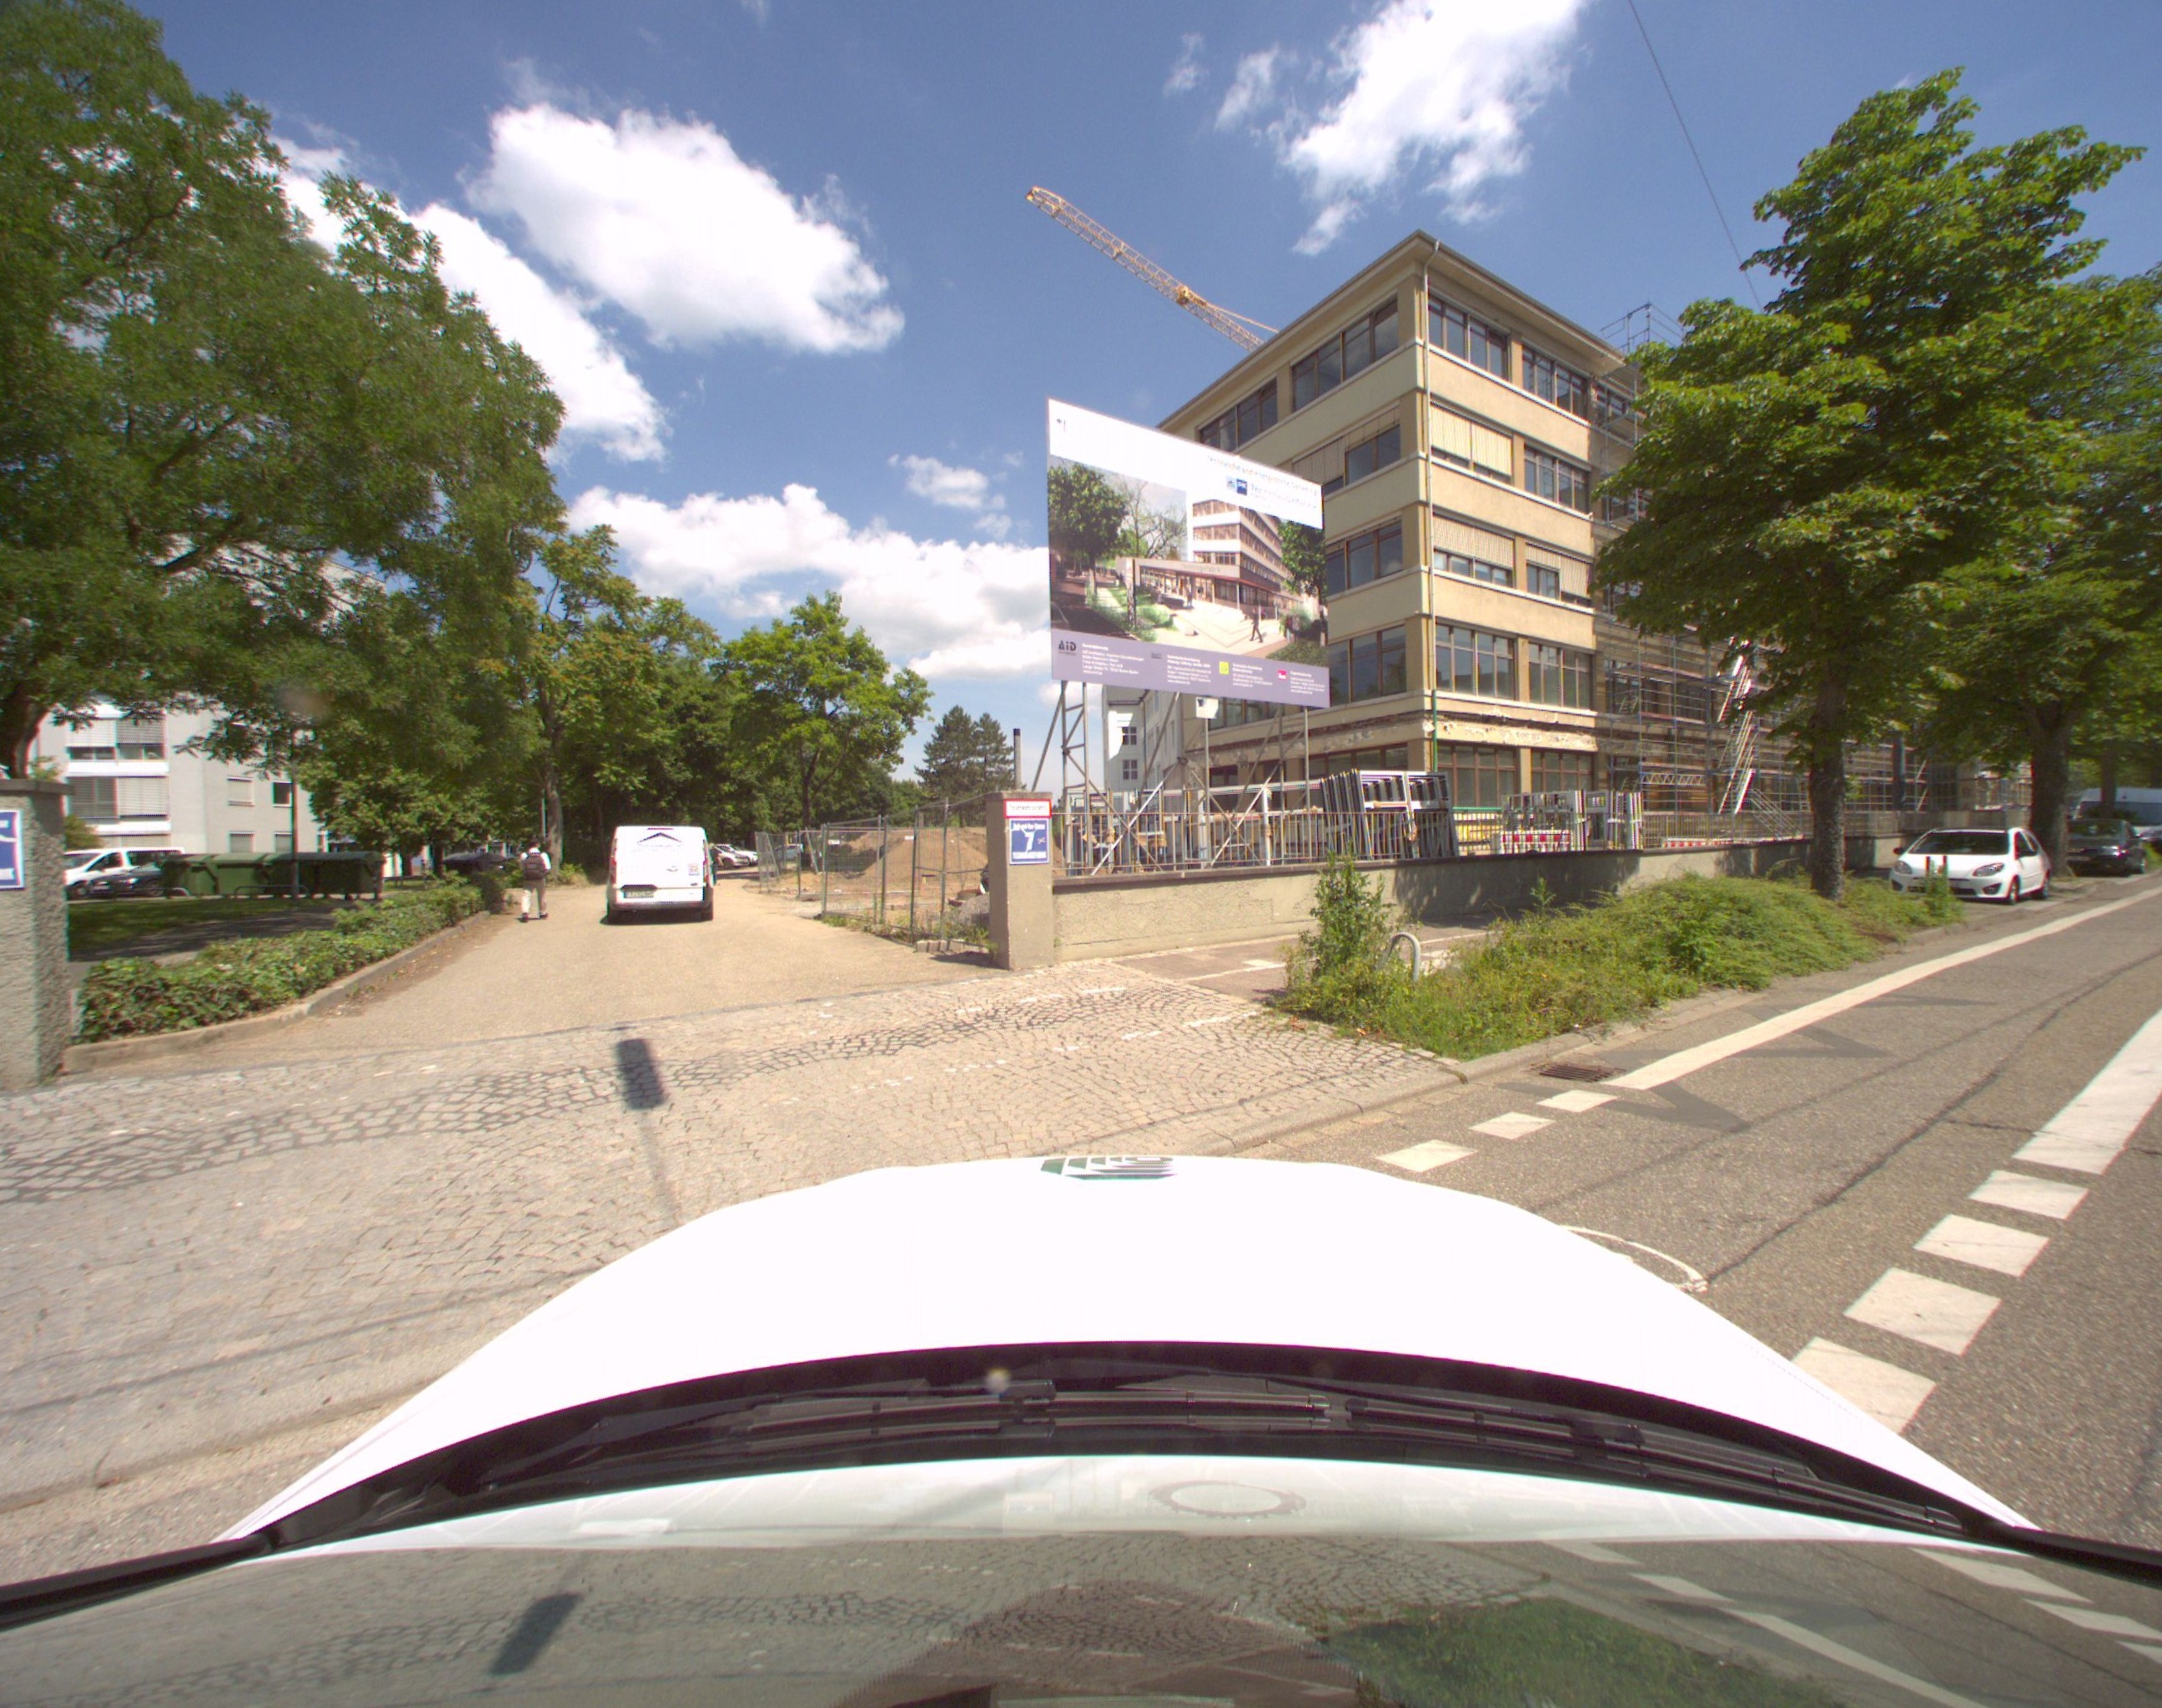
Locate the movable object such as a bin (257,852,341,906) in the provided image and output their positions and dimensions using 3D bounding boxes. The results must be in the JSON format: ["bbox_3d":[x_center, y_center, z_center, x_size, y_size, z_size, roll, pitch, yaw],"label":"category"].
[{"bbox_3d":[-22.935,0.720,23.930,1.358,1.479,1.091,-2,1,-14],"label":"movable object such as a bin"}]

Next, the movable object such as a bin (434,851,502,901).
[{"bbox_3d":[-18.038,0.644,23.979,1.147,1.394,1.122,-1,1,19],"label":"movable object such as a bin"}]

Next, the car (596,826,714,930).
[{"bbox_3d":[-9.392,0.432,17.943,1.985,1.947,4.538,-2,1,-29],"label":"car"}]

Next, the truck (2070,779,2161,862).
[{"bbox_3d":[34.353,-1.108,26.693,5.897,2.485,2.005,-2,1,-35],"label":"truck"}]

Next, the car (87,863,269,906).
[{"bbox_3d":[-33.824,1.080,30.733,1.824,1.352,4.621,-1,1,-3],"label":"car"}]

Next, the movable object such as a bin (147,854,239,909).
[{"bbox_3d":[-25.812,0.782,23.703,1.402,1.479,1.046,-1,1,-3],"label":"movable object such as a bin"}]

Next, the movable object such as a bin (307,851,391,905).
[{"bbox_3d":[-21.550,0.690,24.018,1.319,1.479,1.205,-2,1,-7],"label":"movable object such as a bin"}]

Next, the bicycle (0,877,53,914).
[{"bbox_3d":[-29.934,1.159,22.693,1.720,0.958,0.613,-1,1,-2],"label":"bicycle"}]

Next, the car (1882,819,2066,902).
[{"bbox_3d":[17.637,0.070,16.070,3.592,1.439,1.608,-2,1,-28],"label":"car"}]

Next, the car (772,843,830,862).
[{"bbox_3d":[-25.283,-0.119,73.615,4.496,1.597,1.934,-1,1,-4],"label":"car"}]

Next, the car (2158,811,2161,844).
[{"bbox_3d":[51.380,-1.269,37.544,4.017,1.486,1.979,-2,2,-35],"label":"car"}]

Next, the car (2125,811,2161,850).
[{"bbox_3d":[42.686,-0.966,31.979,4.018,1.456,1.978,-3,2,-37],"label":"car"}]

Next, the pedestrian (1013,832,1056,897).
[{"bbox_3d":[-1.363,0.291,23.744,0.968,1.819,0.864,-2,1,-22],"label":"pedestrian"}]

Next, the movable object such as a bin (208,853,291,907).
[{"bbox_3d":[-24.333,0.749,23.857,1.255,1.479,1.046,-1,1,-3],"label":"movable object such as a bin"}]

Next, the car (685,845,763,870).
[{"bbox_3d":[-24.271,0.212,55.443,4.497,1.531,1.723,-1,1,-5],"label":"car"}]

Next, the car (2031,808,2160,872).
[{"bbox_3d":[28.055,-0.429,22.503,4.017,1.606,1.979,-2,2,-35],"label":"car"}]

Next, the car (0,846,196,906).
[{"bbox_3d":[-37.000,0.737,30.767,1.989,2.013,4.769,-2,1,-3],"label":"car"}]

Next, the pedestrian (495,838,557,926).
[{"bbox_3d":[-11.497,0.547,16.918,0.878,1.729,1.071,-2,2,-27],"label":"pedestrian"}]

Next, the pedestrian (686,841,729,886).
[{"bbox_3d":[-14.192,0.346,30.964,1.028,1.650,1.053,-1,1,13],"label":"pedestrian"}]

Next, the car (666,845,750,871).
[{"bbox_3d":[-24.158,0.268,52.913,4.496,1.609,1.997,-1,-1,-4],"label":"car"}]

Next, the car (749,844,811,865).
[{"bbox_3d":[-25.101,0.028,67.997,4.497,1.597,1.723,-1,1,-5],"label":"car"}]
